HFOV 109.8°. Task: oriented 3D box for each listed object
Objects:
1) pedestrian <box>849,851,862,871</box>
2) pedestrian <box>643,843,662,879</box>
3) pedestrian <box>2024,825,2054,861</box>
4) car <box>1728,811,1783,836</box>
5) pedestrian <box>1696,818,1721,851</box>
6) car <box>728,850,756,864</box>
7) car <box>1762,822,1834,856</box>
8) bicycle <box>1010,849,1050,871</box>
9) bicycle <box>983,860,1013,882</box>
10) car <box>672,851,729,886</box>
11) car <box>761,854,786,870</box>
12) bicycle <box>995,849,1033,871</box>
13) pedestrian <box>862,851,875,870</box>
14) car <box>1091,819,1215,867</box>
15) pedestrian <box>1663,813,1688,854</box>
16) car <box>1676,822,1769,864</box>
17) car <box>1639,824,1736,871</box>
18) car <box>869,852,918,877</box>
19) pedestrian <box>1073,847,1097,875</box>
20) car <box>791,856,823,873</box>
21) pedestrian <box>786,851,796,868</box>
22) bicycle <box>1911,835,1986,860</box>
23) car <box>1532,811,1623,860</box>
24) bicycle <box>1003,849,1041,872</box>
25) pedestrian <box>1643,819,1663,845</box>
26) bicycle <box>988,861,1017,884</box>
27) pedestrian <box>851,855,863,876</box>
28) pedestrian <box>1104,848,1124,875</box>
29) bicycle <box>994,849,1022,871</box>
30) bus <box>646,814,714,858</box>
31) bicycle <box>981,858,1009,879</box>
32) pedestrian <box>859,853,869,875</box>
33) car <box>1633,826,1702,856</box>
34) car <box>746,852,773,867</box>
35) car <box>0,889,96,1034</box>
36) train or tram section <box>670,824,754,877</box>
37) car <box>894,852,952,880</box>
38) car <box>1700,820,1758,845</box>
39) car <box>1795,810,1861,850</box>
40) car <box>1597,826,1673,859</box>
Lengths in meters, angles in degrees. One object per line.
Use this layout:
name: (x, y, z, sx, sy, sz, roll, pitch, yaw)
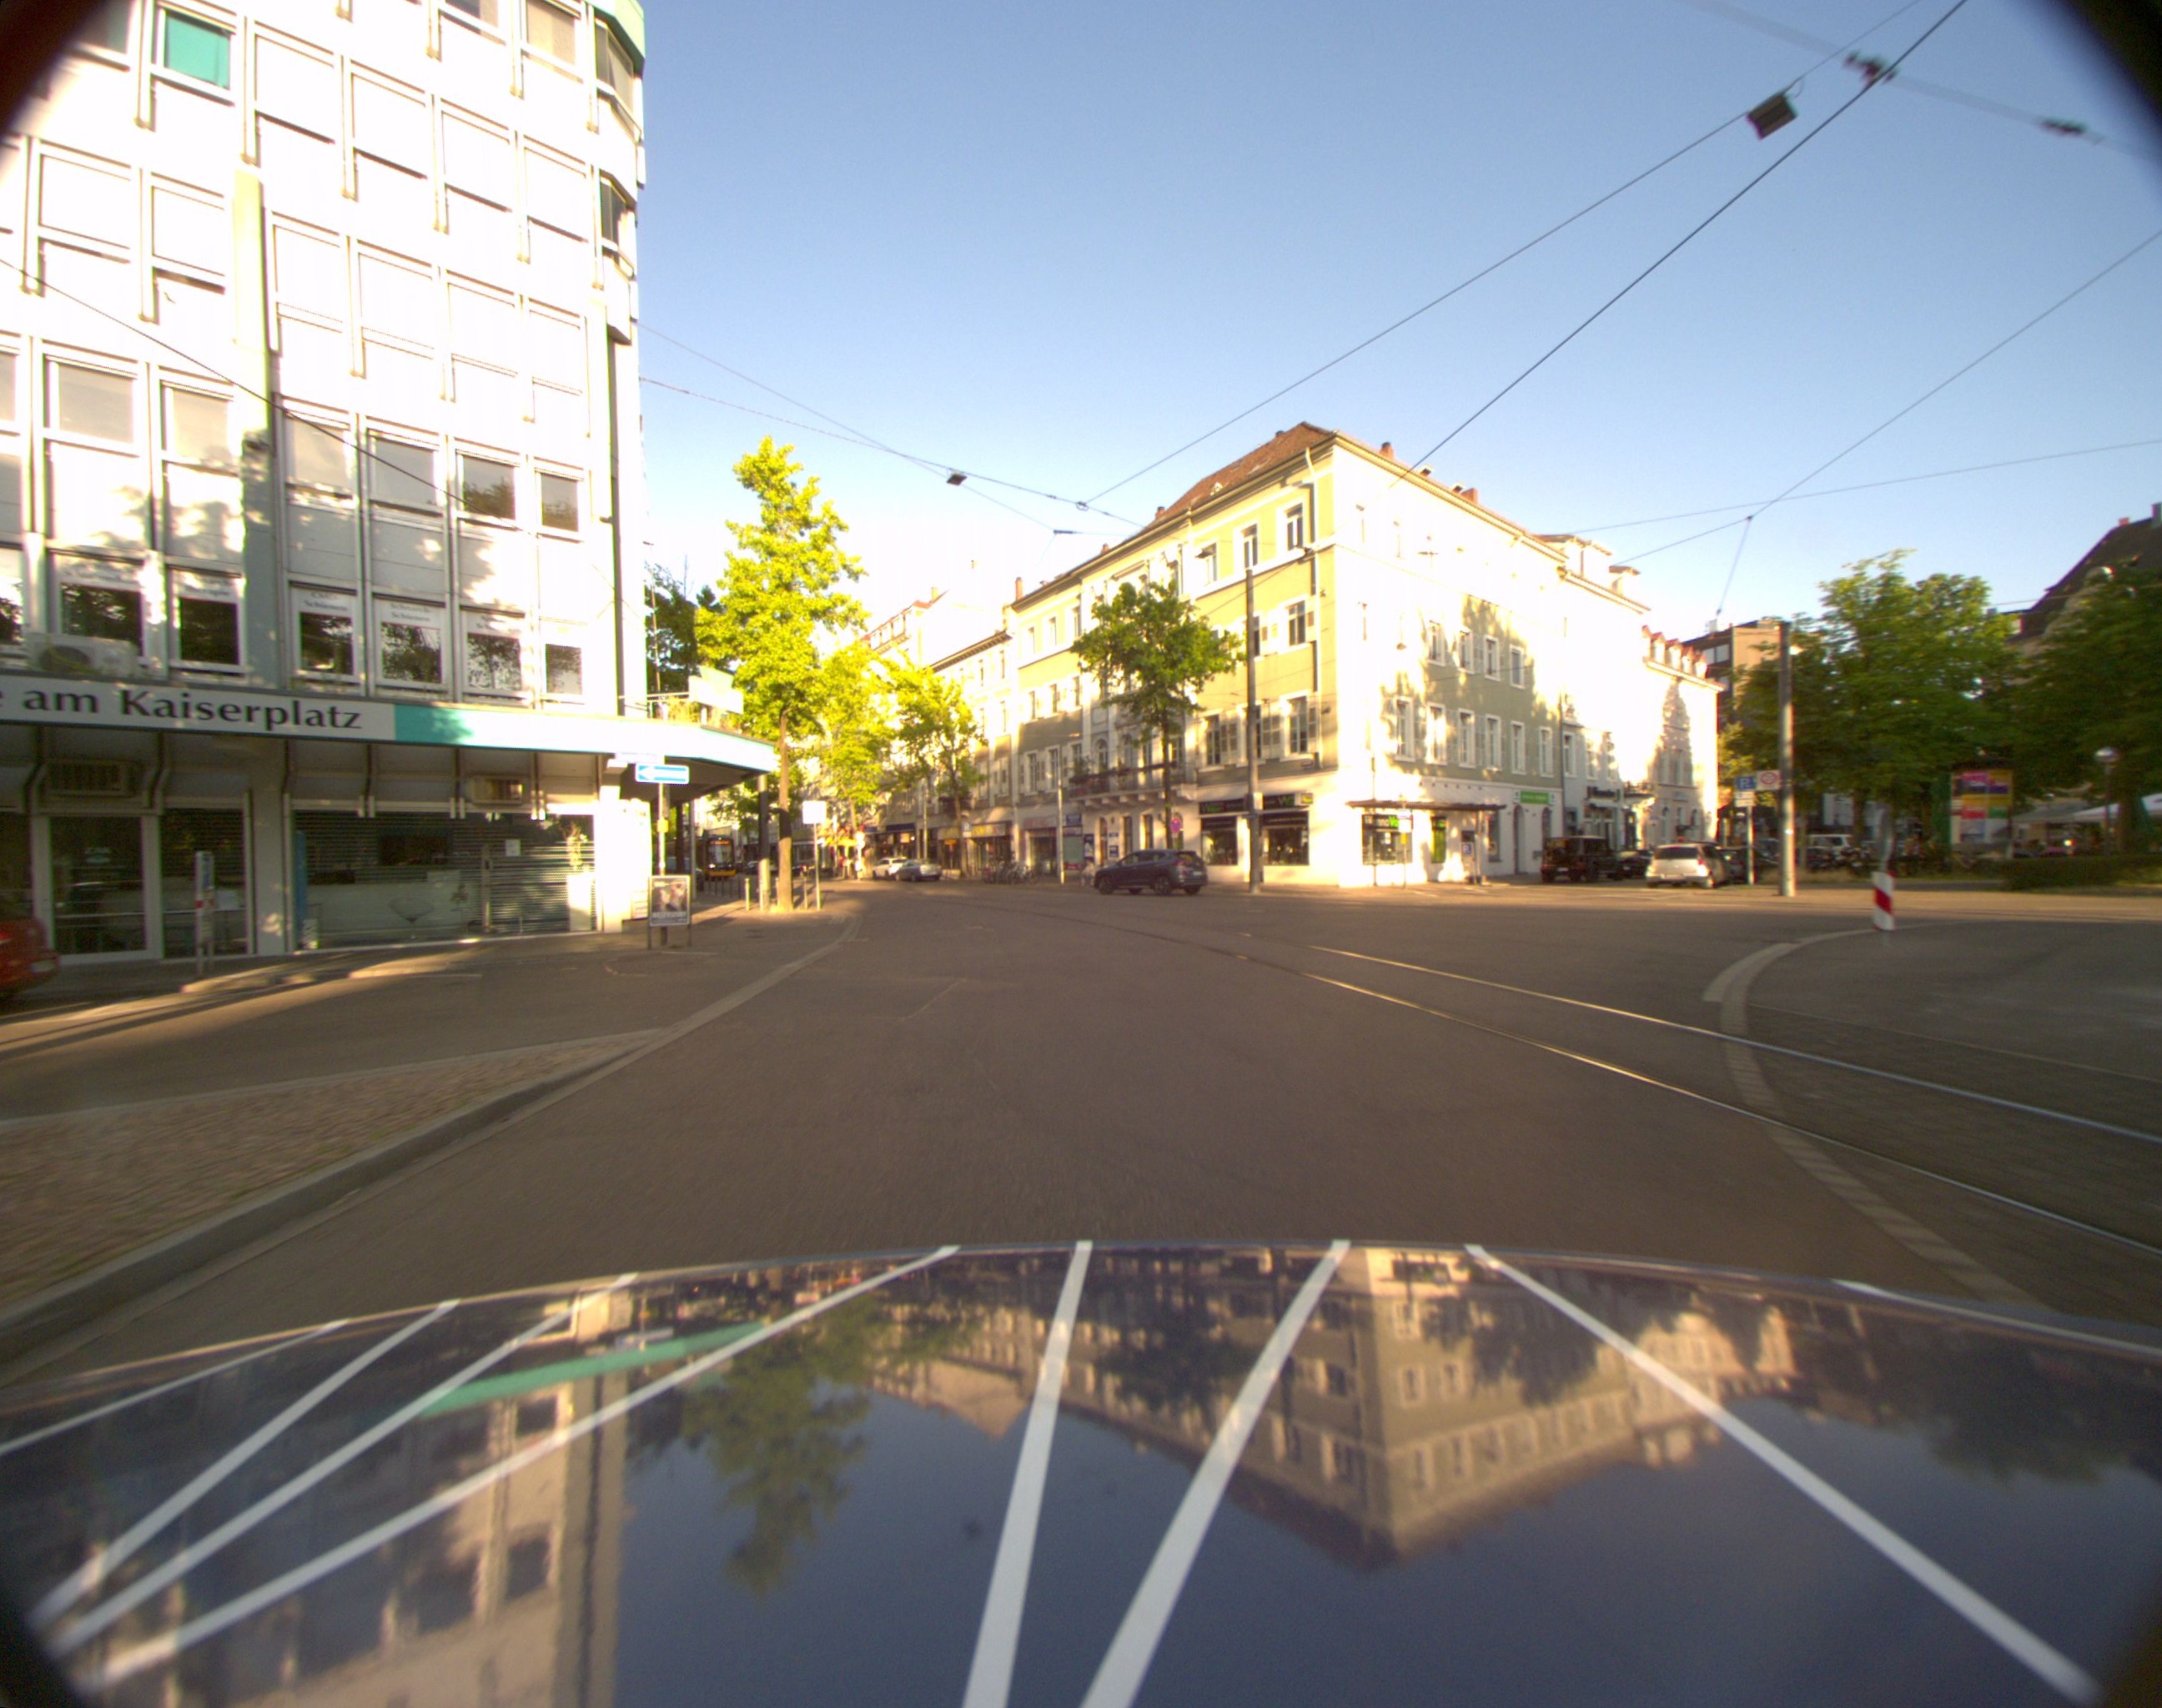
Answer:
pedestrian: (-19.402, 0.602, 65.459, 0.848, 1.684, 0.738, -2, 2, -37)
pedestrian: (-19.675, 0.319, 34.883, 0.646, 1.660, 0.784, 2, 0, -36)
pedestrian: (33.326, -0.384, 26.429, 0.518, 1.226, 0.628, -3, 2, -38)
car: (44.448, -2.005, 50.054, 4.148, 1.507, 1.894, -2, 2, -37)
pedestrian: (30.469, -0.931, 36.899, 0.773, 1.571, 0.743, -2, 2, -37)
car: (-40.832, 0.339, 91.533, 1.801, 1.482, 4.230, -4, 3, -42)
car: (34.315, -0.743, 36.343, 3.642, 1.507, 1.894, -2, 2, -37)
bicycle: (-2.715, 0.332, 40.531, 2.029, 1.099, 0.501, -2, 3, -1)
bicycle: (-4.743, 0.977, 43.436, 0.499, 1.099, 2.118, 0, 4, 29)
car: (-20.474, 0.744, 40.787, 1.949, 1.748, 4.666, 2, -1, -36)
car: (-31.658, 0.760, 78.165, 1.775, 1.489, 4.164, -2, 2, -29)
bicycle: (-3.660, 0.332, 41.642, 2.033, 1.099, 0.499, -4, 4, -33)
pedestrian: (-18.584, 0.562, 66.353, 0.793, 1.684, 0.911, -2, 2, -37)
car: (2.625, -0.378, 28.512, 1.974, 1.666, 4.346, 0, 0, -45)
pedestrian: (28.373, -0.968, 36.256, 0.773, 1.924, 0.743, -2, 2, -37)
car: (24.932, -0.455, 29.500, 4.148, 1.507, 1.894, -2, 2, -37)
car: (21.293, -0.254, 26.632, 4.007, 1.507, 1.723, -2, 2, -37)
car: (-13.327, 0.699, 53.926, 1.844, 1.572, 4.105, -6, 4, -35)
pedestrian: (0.201, 0.335, 35.961, 0.731, 1.283, 0.854, -3, 2, -38)
car: (-25.155, 0.934, 69.628, 1.673, 1.421, 3.816, -5, 4, -36)
pedestrian: (-31.625, 0.573, 82.839, 0.663, 1.816, 0.876, -5, 4, -36)
bicycle: (30.527, -0.251, 26.778, 0.460, 0.833, 1.805, -1, 1, -7)
car: (21.932, -0.848, 33.513, 4.642, 2.002, 1.921, -2, 2, -37)
bicycle: (-3.186, 0.330, 41.263, 2.033, 1.099, 0.499, -4, 4, -33)
pedestrian: (34.407, -1.296, 45.672, 0.746, 1.548, 0.769, -2, 2, -35)
bicycle: (-4.399, 1.026, 42.931, 0.499, 1.099, 2.033, 0, 4, 29)
pedestrian: (-16.549, 0.835, 56.080, 0.623, 1.501, 0.727, -2, 3, -35)
pedestrian: (1.513, 0.326, 34.892, 0.594, 1.187, 0.640, -3, 3, -38)
bicycle: (-4.061, 0.323, 42.434, 0.499, 1.099, 2.033, 0, 4, 29)
bus: (-40.957, -1.649, 77.043, 3.625, 3.975, 17.435, -2, 1, -36)
bicycle: (-4.994, 0.840, 44.199, 0.566, 1.099, 1.954, 0, 4, 29)
pedestrian: (-15.813, 0.720, 55.306, 0.523, 1.560, 0.632, -2, 3, -35)
car: (31.522, -0.723, 40.807, 4.148, 1.507, 1.894, -2, 2, -37)
car: (-35.242, 0.618, 83.242, 1.720, 1.453, 4.473, -4, 3, -36)
car: (-13.136, 1.199, 7.434, 3.875, 1.431, 1.828, -2, 1, -37)
train or tram section: (-31.254, -0.315, 63.698, 3.616, 3.975, 15.673, -2, 1, -36)
car: (-10.358, 0.753, 49.656, 1.844, 1.572, 4.689, -6, 4, -35)
car: (40.189, -1.346, 47.096, 4.148, 1.507, 1.894, -2, 2, -37)
car: (39.204, -1.268, 39.846, 4.002, 2.018, 1.894, -2, 2, -37)
car: (27.405, -0.604, 37.562, 4.148, 1.507, 1.894, -2, 2, -37)
